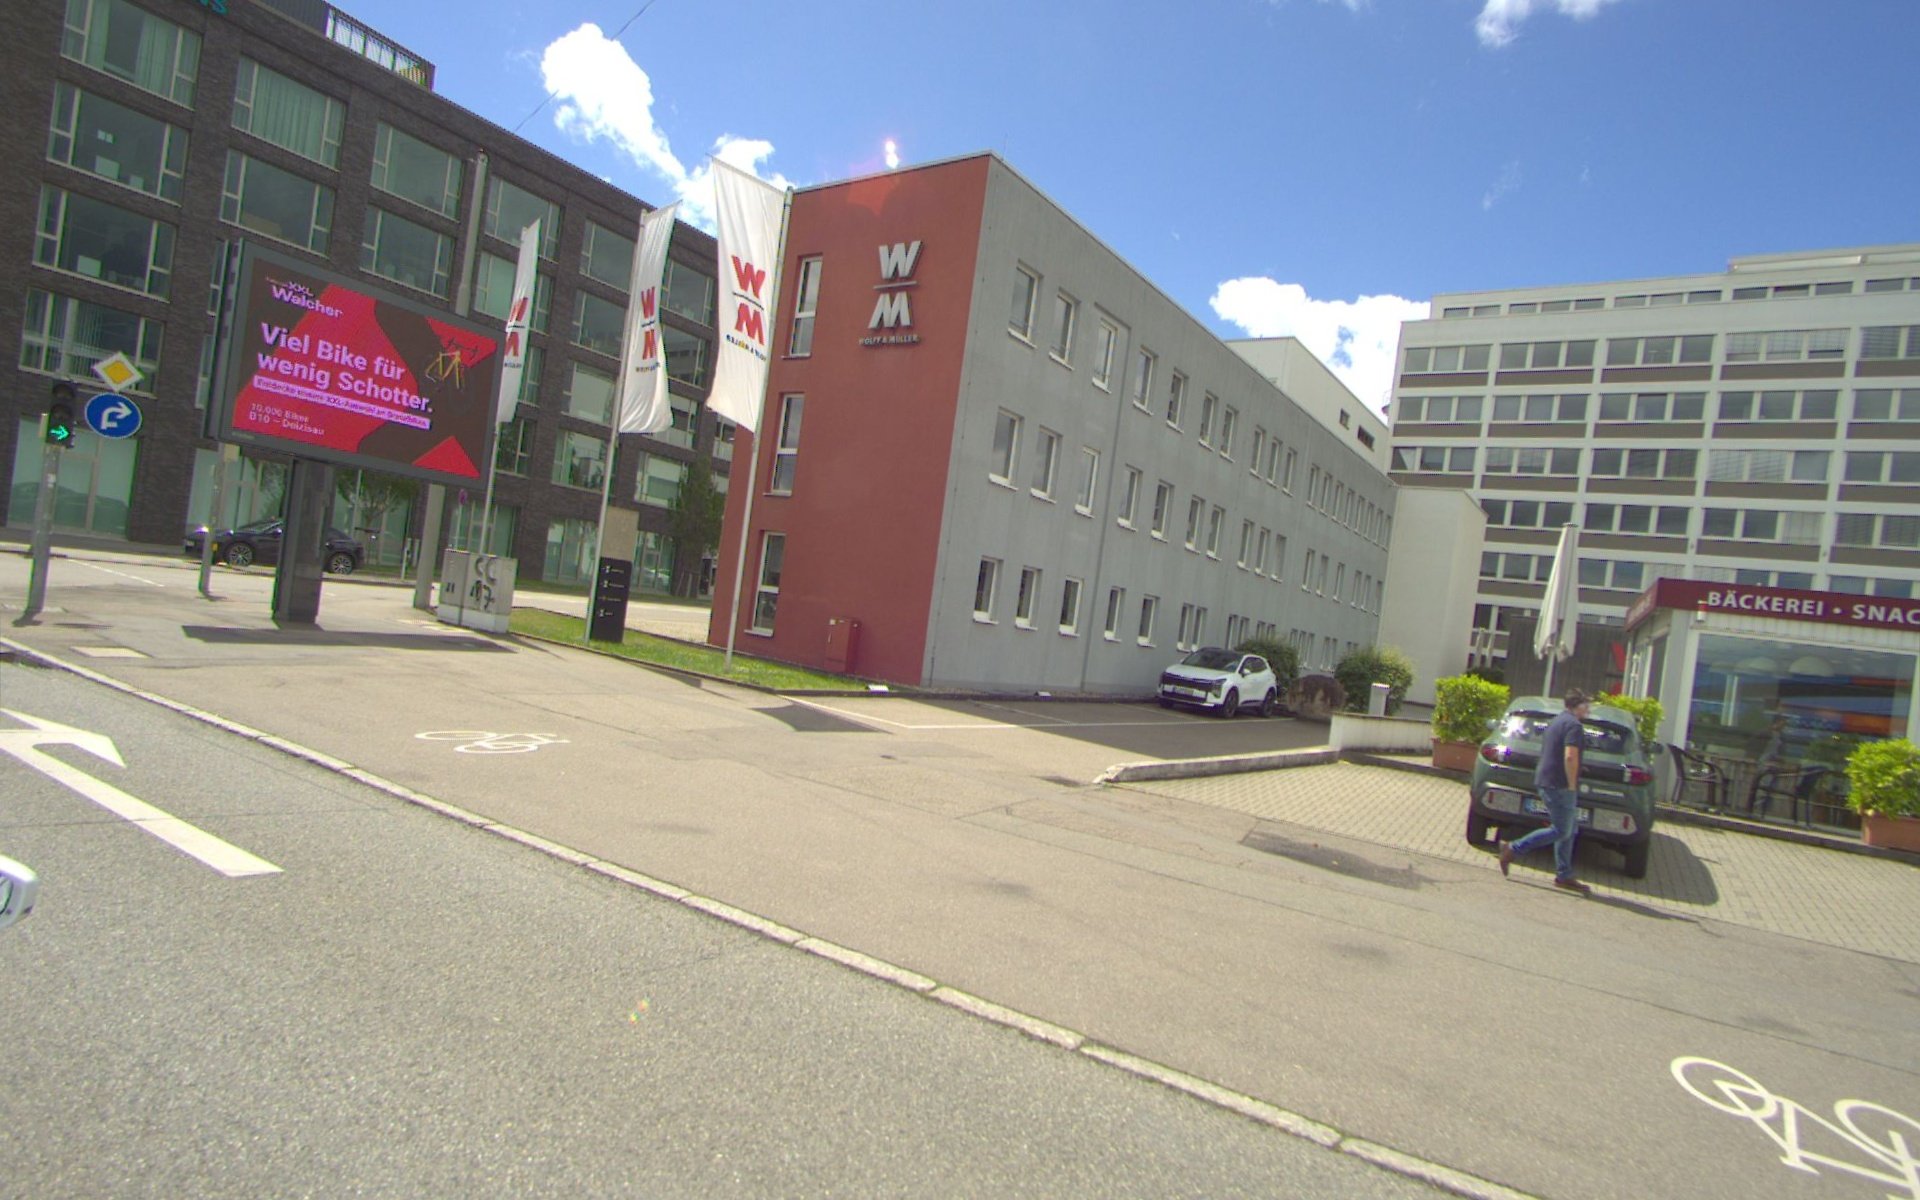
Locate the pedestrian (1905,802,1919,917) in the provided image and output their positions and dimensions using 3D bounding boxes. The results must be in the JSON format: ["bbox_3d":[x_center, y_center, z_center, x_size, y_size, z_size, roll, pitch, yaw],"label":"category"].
[{"bbox_3d":[9.001,2.000,8.928,0.743,1.728,0.565,7,0,-32],"label":"pedestrian"}]

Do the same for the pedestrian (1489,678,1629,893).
[{"bbox_3d":[5.243,1.608,8.811,0.707,1.727,0.625,7,0,-32],"label":"pedestrian"}]

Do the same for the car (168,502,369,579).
[{"bbox_3d":[-21.273,-1.781,31.163,1.966,1.638,4.648,7,-1,30],"label":"car"}]

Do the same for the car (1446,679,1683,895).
[{"bbox_3d":[6.505,1.796,10.799,1.733,1.506,3.665,7,3,33],"label":"car"}]
